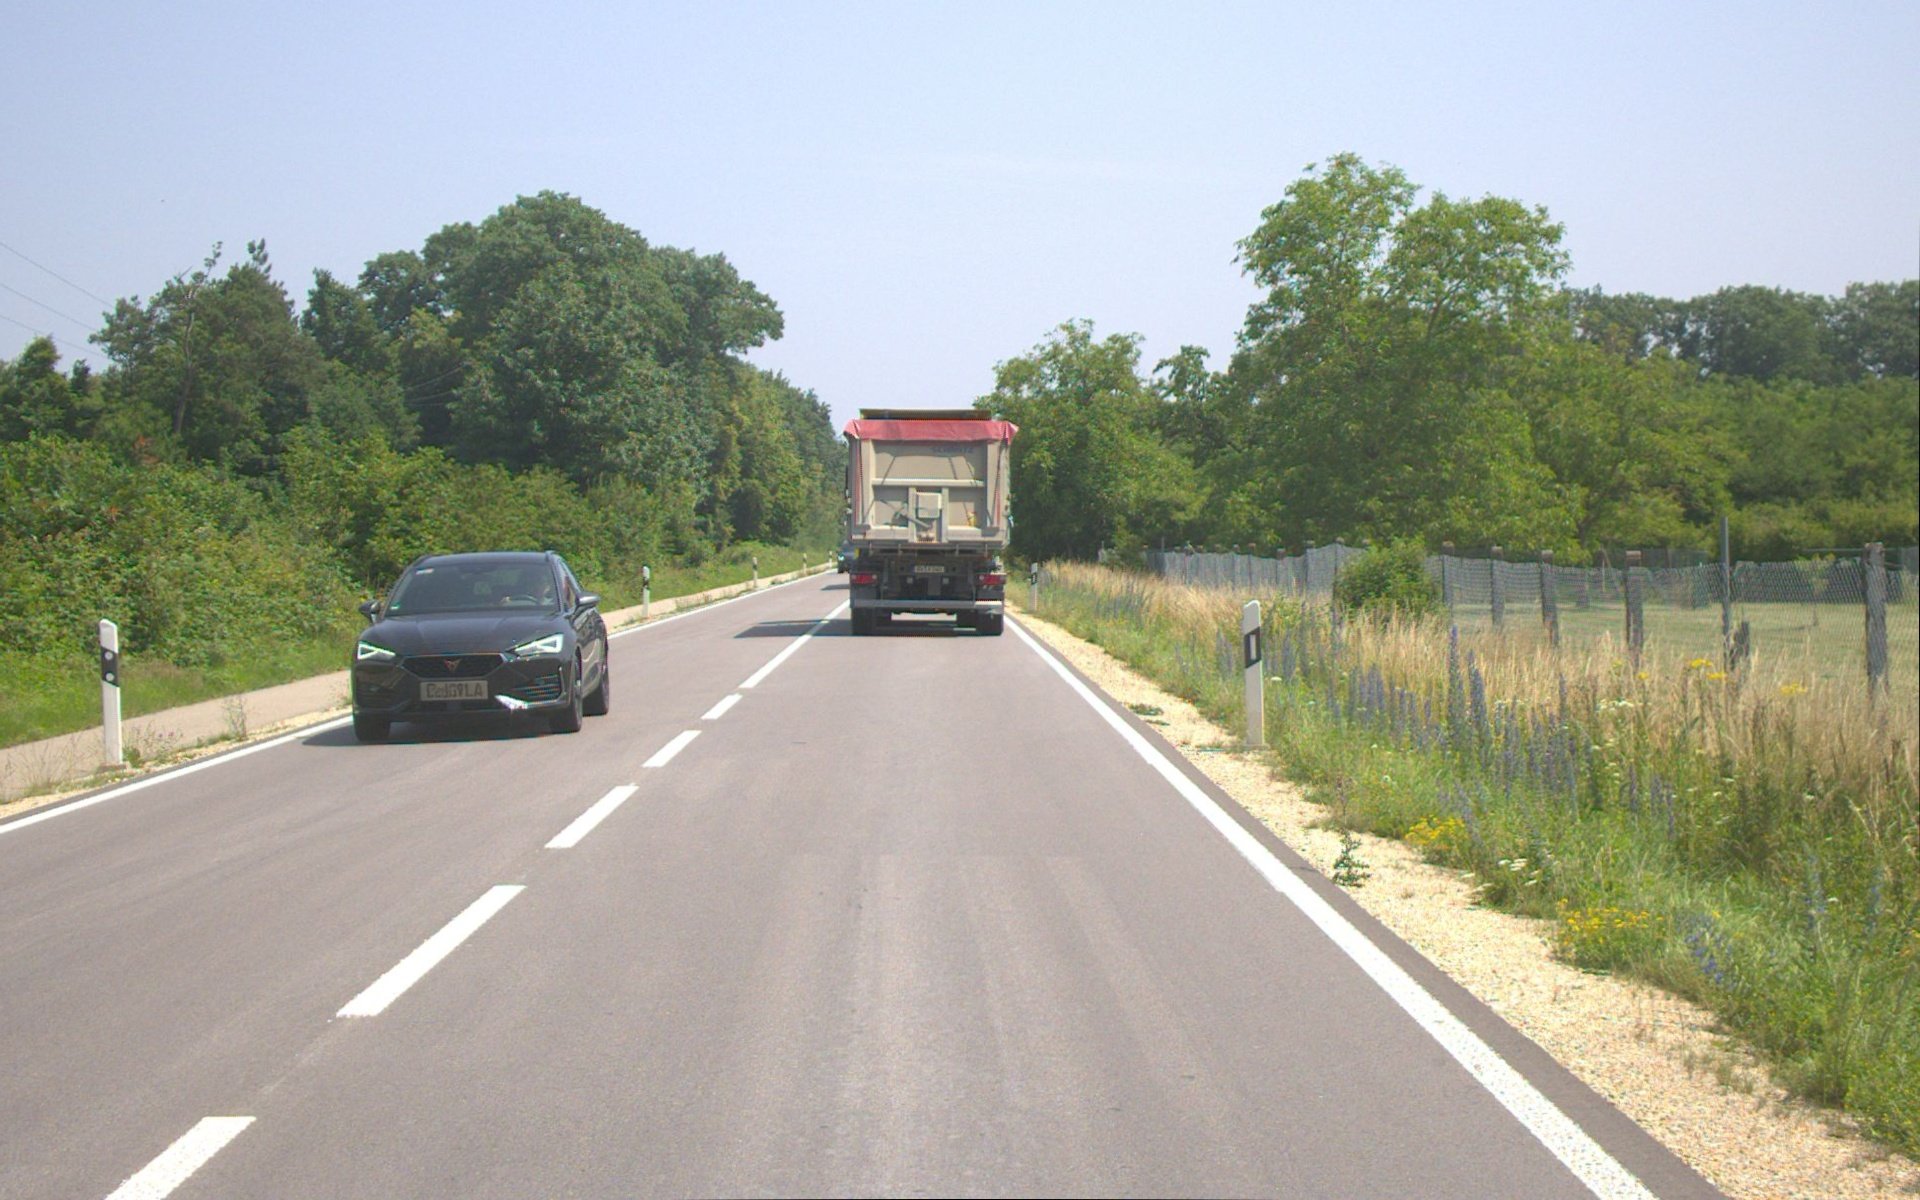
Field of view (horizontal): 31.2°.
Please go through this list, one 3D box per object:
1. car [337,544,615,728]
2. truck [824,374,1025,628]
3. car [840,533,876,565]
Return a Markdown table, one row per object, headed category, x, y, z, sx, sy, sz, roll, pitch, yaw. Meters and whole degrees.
| category | x | y | z | sx | sy | sz | roll | pitch | yaw |
| --- | --- | --- | --- | --- | --- | --- | --- | --- | --- |
| car | -3.955 | 0.246 | 28.692 | 1.758 | 1.353 | 4.046 | -2 | 1 | -1 |
| truck | -0.629 | -1.630 | 59.473 | 3.009 | 3.861 | 12.210 | 2 | 1 | -1 |
| car | -5.206 | -2.618 | 175.675 | 1.758 | 1.535 | 4.046 | -2 | 1 | -1 |
